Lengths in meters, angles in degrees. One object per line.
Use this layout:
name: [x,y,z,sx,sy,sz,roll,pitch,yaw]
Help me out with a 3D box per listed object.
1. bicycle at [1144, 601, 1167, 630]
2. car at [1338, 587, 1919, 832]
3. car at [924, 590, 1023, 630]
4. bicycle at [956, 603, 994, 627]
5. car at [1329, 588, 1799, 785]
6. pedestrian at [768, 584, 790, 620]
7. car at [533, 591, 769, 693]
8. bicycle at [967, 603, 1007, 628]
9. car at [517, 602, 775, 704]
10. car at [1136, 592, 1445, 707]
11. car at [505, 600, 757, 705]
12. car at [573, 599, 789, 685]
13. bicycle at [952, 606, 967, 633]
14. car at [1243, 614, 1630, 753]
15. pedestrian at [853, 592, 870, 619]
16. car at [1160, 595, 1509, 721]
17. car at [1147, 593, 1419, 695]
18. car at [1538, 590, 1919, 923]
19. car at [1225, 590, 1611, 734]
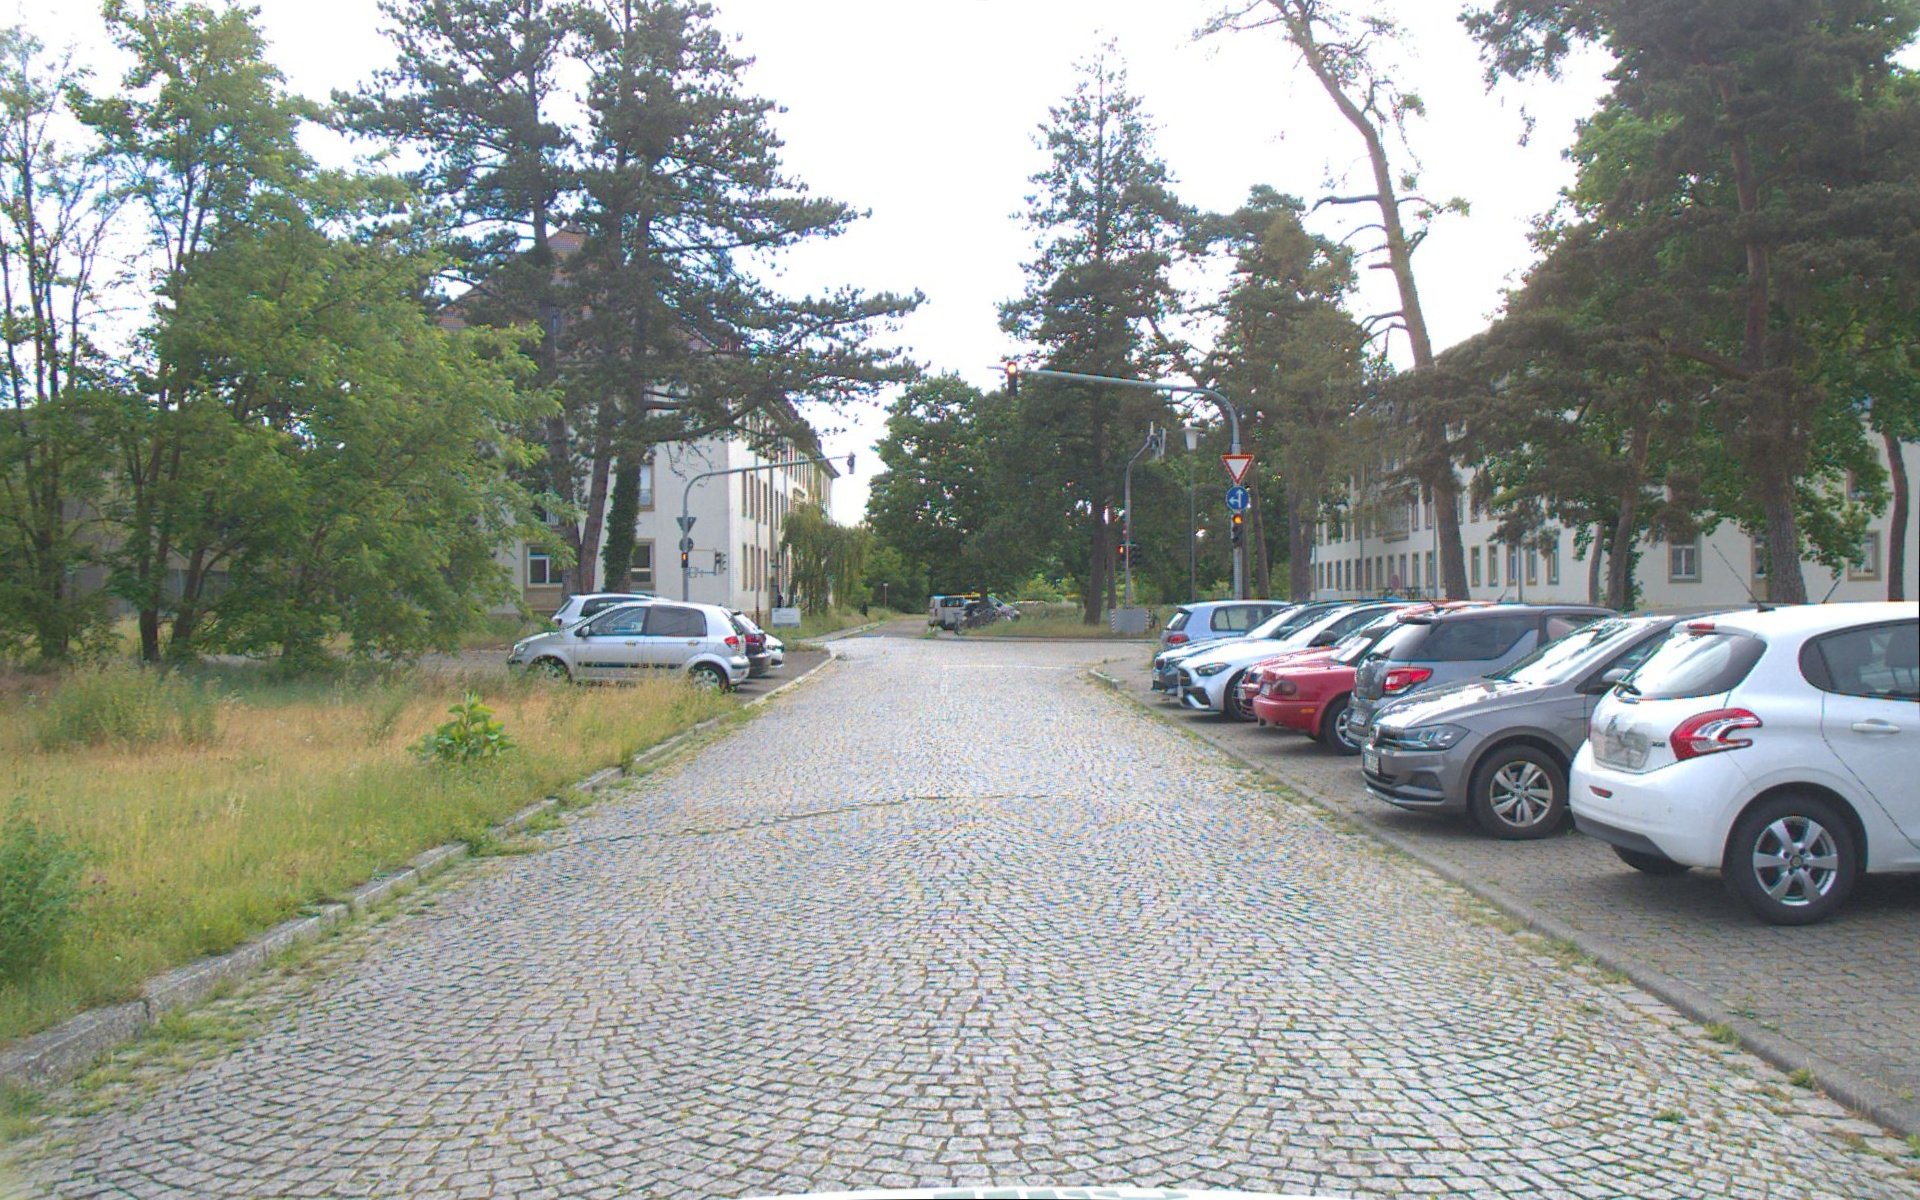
bicycle: [7.573,0.579,63.967,0.649,1.069,1.888,1,0,0]
car: [4.883,0.702,11.569,4.046,1.472,1.765,-2,0,0]
car: [0.732,0.563,93.952,5.283,2.138,2.171,-1,0,-13]
bicycle: [0.756,0.755,82.645,1.845,1.191,0.664,1,0,-6]
car: [5.156,0.703,14.439,3.434,1.513,1.743,-2,0,-1]
pedestrian: [-10.016,0.114,91.521,1.052,1.993,1.121,1,0,0]
car: [-5.798,0.765,31.421,4.215,1.762,1.651,-2,0,-6]
bicycle: [1.280,0.749,79.154,1.845,1.191,0.664,1,0,-6]
car: [-5.348,0.883,28.621,4.216,1.581,1.809,-2,0,-7]
car: [4.862,0.693,24.533,4.153,1.505,1.705,-2,0,-11]
car: [-5.105,0.805,26.028,3.647,1.506,1.672,2,0,-3]
car: [-5.633,0.826,33.877,4.216,1.581,1.809,-2,0,-7]
bicycle: [-0.015,0.862,74.504,0.649,1.191,1.887,1,0,0]
car: [4.818,0.829,17.060,3.513,1.244,1.628,-2,0,1]
pedestrian: [-7.369,0.423,123.432,1.215,1.993,1.120,1,0,-6]
car: [4.866,0.725,21.766,4.107,1.462,1.752,-2,0,-8]
car: [5.237,0.690,27.090,4.055,1.489,1.631,-2,0,-6]
car: [5.141,0.709,8.667,3.579,1.504,1.765,-2,0,-1]
car: [5.288,0.691,19.409,4.023,1.502,1.684,-2,0,-2]
